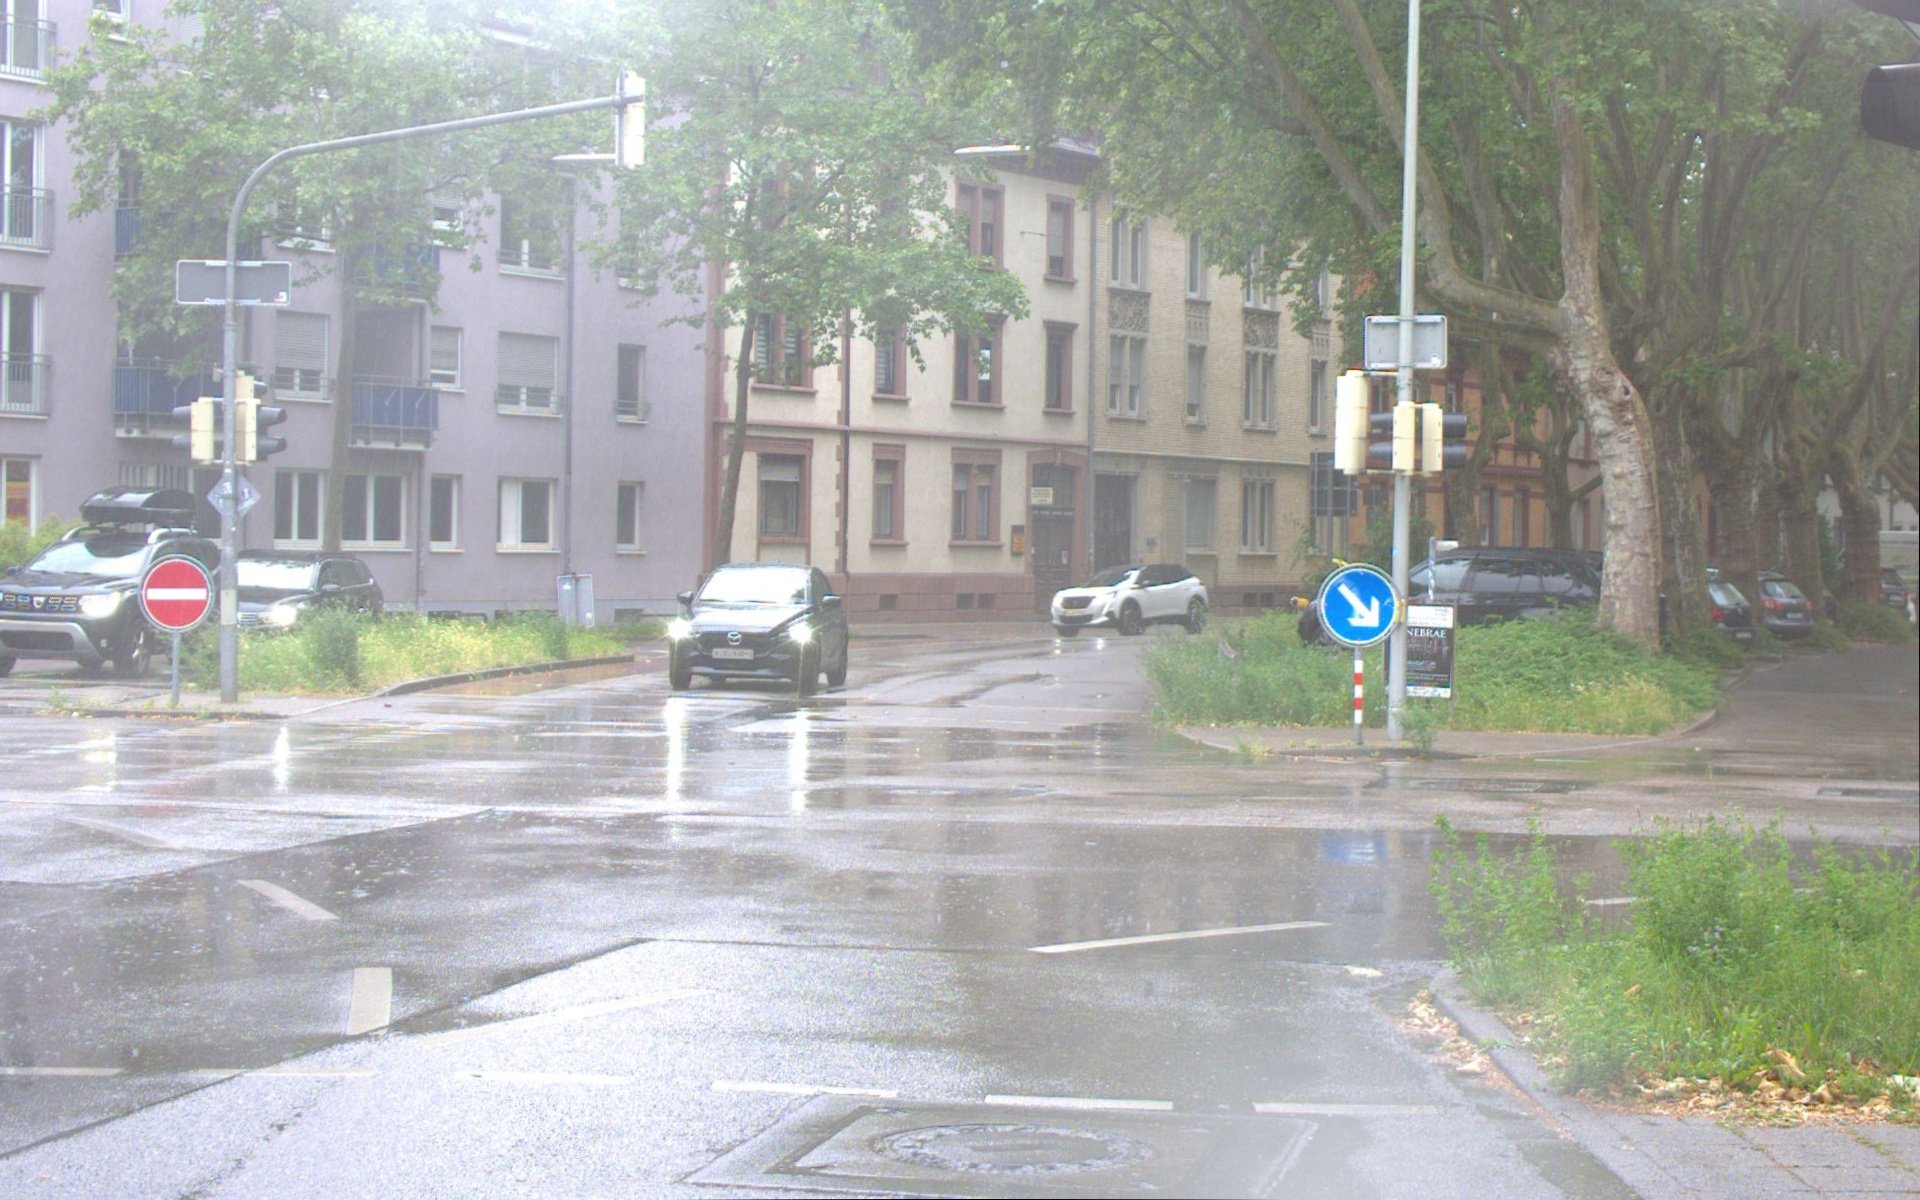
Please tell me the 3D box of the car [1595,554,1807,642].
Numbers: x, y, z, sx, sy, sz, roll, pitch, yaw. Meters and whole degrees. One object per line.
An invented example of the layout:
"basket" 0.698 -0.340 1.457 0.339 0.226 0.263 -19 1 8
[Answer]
"car" 14.117 -0.043 65.528 3.611 1.612 1.679 0 1 28

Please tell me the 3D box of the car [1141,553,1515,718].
"car" 3.553 0.329 33.009 3.480 1.518 1.519 -1 1 9

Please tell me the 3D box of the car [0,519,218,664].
"car" -9.774 -0.125 38.806 1.725 1.547 3.559 -1 1 5

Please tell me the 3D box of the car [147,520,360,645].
"car" -9.170 -0.255 44.879 1.725 1.547 3.559 -1 1 5

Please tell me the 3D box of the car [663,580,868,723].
"car" -2.244 0.575 40.574 1.603 1.547 3.558 0 1 10

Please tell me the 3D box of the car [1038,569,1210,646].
"car" 3.590 0.138 74.511 1.680 1.547 4.190 0 1 36
